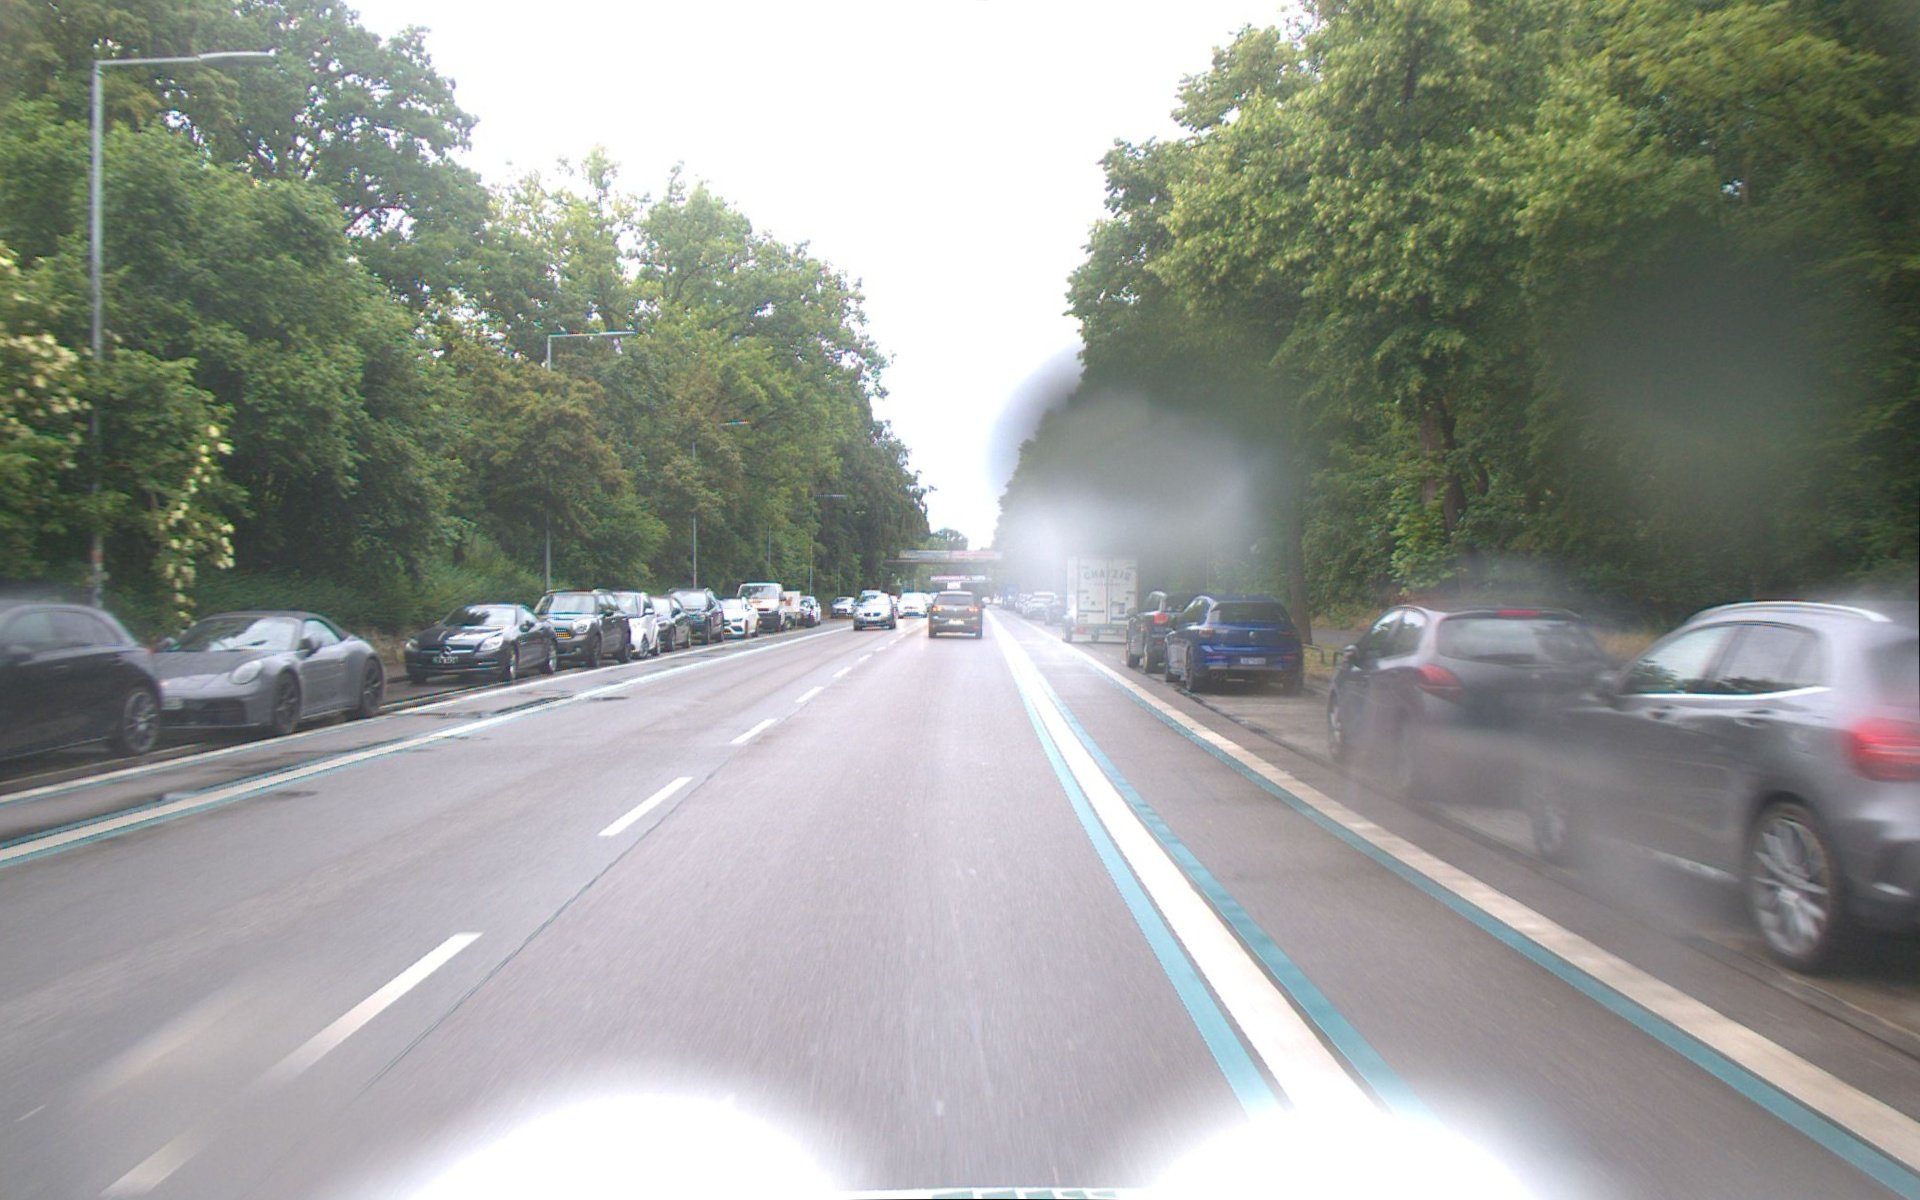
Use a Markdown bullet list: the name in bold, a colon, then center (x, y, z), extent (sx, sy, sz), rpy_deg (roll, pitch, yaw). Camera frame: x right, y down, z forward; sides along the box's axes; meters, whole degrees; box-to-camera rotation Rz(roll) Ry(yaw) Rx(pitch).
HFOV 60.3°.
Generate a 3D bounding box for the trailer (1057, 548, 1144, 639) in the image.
- **trailer**: center (4.141, -0.197, 49.399), extent (2.089, 2.605, 4.295), rpy_deg (0, 0, -2)

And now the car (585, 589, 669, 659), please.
- **car**: center (-7.885, 0.546, 39.373), extent (1.431, 1.598, 2.983), rpy_deg (0, 0, -1)

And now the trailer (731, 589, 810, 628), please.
- **trailer**: center (-8.271, 0.357, 72.411), extent (1.595, 1.657, 3.664), rpy_deg (0, 0, 31)

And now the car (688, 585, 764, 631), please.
- **car**: center (-8.033, 0.264, 57.136), extent (1.952, 1.514, 4.468), rpy_deg (0, 0, 1)

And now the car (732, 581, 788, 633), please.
- **car**: center (-8.119, 0.253, 67.513), extent (1.901, 2.049, 4.738), rpy_deg (0, 0, -2)

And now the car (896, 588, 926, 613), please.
- **car**: center (-3.098, 0.001, 104.309), extent (1.798, 1.544, 4.000), rpy_deg (0, 0, -1)

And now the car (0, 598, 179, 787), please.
- **car**: center (-8.543, 0.736, 13.864), extent (1.952, 1.477, 4.139), rpy_deg (0, 0, 1)

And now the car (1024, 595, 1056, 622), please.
- **car**: center (4.937, 0.507, 102.490), extent (1.858, 1.634, 4.000), rpy_deg (0, 0, 1)

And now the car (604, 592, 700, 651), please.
- **car**: center (-8.219, 0.543, 44.518), extent (1.771, 1.514, 4.467), rpy_deg (0, 0, -1)

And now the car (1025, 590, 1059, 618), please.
- **car**: center (4.817, 0.241, 97.875), extent (1.858, 1.634, 4.000), rpy_deg (0, 0, 1)

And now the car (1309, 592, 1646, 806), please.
- **car**: center (4.124, 0.702, 13.836), extent (1.582, 1.496, 4.000), rpy_deg (1, 0, 1)

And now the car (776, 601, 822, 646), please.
- **car**: center (-7.554, 1.064, 78.039), extent (1.901, 2.049, 4.738), rpy_deg (0, 0, -2)

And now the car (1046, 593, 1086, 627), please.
- **car**: center (4.967, 0.471, 78.162), extent (1.686, 1.552, 4.000), rpy_deg (0, 0, 1)

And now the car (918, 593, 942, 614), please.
- **car**: center (-2.304, 0.261, 127.106), extent (1.671, 1.599, 4.001), rpy_deg (0, 0, 1)

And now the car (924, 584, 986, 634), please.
- **car**: center (-0.207, 0.320, 53.391), extent (1.834, 1.466, 4.294), rpy_deg (2, -1, -2)

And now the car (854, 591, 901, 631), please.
- **car**: center (-3.328, 0.423, 67.193), extent (1.664, 1.511, 4.035), rpy_deg (-1, 0, 0)

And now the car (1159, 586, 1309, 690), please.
- **car**: center (4.298, 0.544, 26.523), extent (1.647, 1.507, 4.318), rpy_deg (1, 0, 0)

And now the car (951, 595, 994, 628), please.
- **car**: center (0.604, 0.553, 82.679), extent (1.843, 1.491, 3.998), rpy_deg (2, 0, -3)

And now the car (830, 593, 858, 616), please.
- **car**: center (-7.889, 0.304, 112.508), extent (1.638, 1.540, 3.630), rpy_deg (1, 0, 0)

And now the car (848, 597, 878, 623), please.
- **car**: center (-8.042, 0.812, 137.510), extent (2.114, 2.049, 5.031), rpy_deg (0, 0, 1)

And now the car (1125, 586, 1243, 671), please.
- **car**: center (4.276, 0.517, 32.105), extent (1.678, 1.539, 3.975), rpy_deg (0, 0, -1)

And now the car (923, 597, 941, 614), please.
- **car**: center (-2.732, 0.493, 162.072), extent (1.671, 1.599, 4.001), rpy_deg (0, 0, 1)

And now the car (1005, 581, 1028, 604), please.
- **car**: center (5.360, -0.699, 157.117), extent (1.953, 2.049, 3.999), rpy_deg (0, 0, -1)

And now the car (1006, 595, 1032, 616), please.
- **car**: center (4.569, 0.448, 128.181), extent (1.952, 1.590, 4.000), rpy_deg (0, 0, 1)

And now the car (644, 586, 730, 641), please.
- **car**: center (-8.288, 0.398, 50.640), extent (1.841, 1.589, 4.468), rpy_deg (0, 0, 1)

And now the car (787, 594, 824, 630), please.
- **car**: center (-7.853, 0.605, 84.335), extent (1.543, 1.801, 3.415), rpy_deg (0, 0, 1)

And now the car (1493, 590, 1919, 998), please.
- **car**: center (4.259, 0.694, 8.216), extent (1.759, 1.476, 4.427), rpy_deg (0, 0, -1)

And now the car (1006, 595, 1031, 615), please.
- **car**: center (4.691, 0.406, 132.974), extent (1.952, 1.590, 4.000), rpy_deg (0, 0, 1)

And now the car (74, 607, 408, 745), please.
- **car**: center (-7.908, 0.771, 18.702), extent (1.831, 1.326, 4.470), rpy_deg (0, 0, 0)

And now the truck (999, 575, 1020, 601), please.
- **truck**: center (5.151, -1.237, 172.793), extent (2.069, 2.644, 4.301), rpy_deg (0, 0, 1)

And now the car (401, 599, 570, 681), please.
- **car**: center (-8.256, 0.661, 29.161), extent (1.661, 1.323, 4.193), rpy_deg (0, 0, 2)

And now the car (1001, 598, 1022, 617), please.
- **car**: center (5.111, 0.766, 164.974), extent (1.952, 1.803, 4.000), rpy_deg (-1, -1, 1)

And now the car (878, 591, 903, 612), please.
- **car**: center (-6.805, 0.153, 161.862), extent (2.114, 2.049, 5.031), rpy_deg (0, 0, 1)

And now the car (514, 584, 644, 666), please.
- **car**: center (-7.903, 0.477, 34.685), extent (1.661, 1.611, 4.140), rpy_deg (0, 0, 2)
